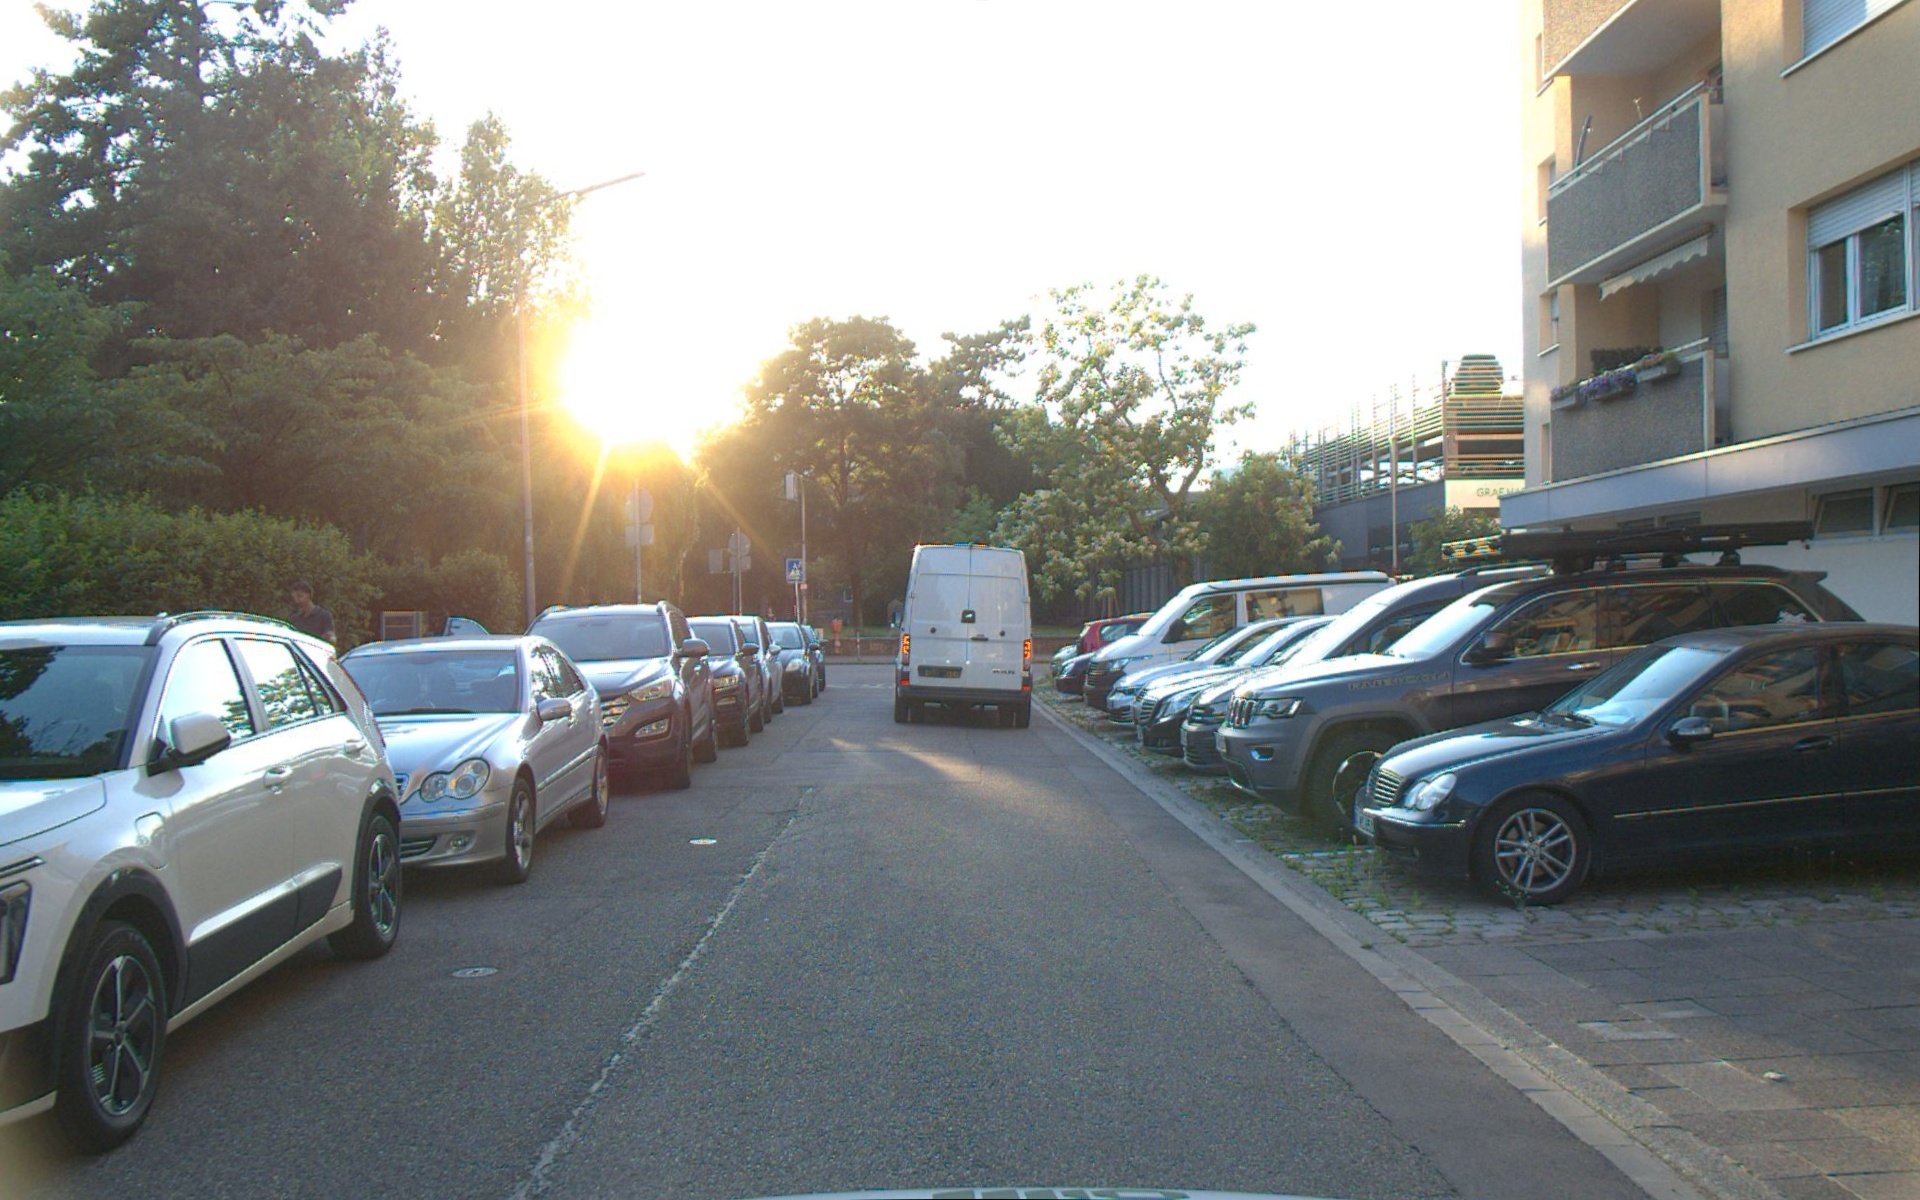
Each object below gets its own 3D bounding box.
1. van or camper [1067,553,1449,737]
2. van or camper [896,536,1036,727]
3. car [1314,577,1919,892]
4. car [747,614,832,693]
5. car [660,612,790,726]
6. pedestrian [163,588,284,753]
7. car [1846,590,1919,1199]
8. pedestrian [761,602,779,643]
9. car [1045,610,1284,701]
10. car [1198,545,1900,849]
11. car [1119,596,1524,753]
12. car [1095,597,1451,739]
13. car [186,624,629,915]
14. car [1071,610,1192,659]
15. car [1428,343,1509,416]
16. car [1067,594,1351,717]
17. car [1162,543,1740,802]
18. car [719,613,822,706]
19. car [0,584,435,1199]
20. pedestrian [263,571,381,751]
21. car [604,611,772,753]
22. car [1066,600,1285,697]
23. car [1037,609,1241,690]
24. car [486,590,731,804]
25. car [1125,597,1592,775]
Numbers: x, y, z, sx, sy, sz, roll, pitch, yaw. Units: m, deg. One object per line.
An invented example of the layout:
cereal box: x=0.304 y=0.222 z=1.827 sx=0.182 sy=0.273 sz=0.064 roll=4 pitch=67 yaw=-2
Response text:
van or camper: x=4.253 y=0.639 z=24.179 sx=5.032 sy=2.205 sz=2.039 roll=-4 pitch=-1 yaw=-3
van or camper: x=0.026 y=0.484 z=26.345 sx=1.953 sy=2.664 sz=6.401 roll=0 pitch=-1 yaw=-1
car: x=4.458 y=0.733 z=9.752 sx=4.313 sy=1.581 sz=1.845 roll=-2 pitch=-3 yaw=1
car: x=-3.731 y=1.140 z=36.683 sx=1.699 sy=1.595 sz=3.787 roll=-2 pitch=-1 yaw=-4
car: x=-3.643 y=1.027 z=26.232 sx=1.699 sy=1.595 sz=4.126 roll=-2 pitch=-1 yaw=-4
pedestrian: x=-7.155 y=0.673 z=16.108 sx=0.733 sy=1.534 sz=0.901 roll=2 pitch=-1 yaw=-3
car: x=4.244 y=0.668 z=2.940 sx=4.315 sy=1.581 sz=1.844 roll=-2 pitch=-3 yaw=-2
pedestrian: x=-7.795 y=0.935 z=68.024 sx=0.633 sy=1.677 sz=0.673 roll=1 pitch=-1 yaw=-1
car: x=3.929 y=1.088 z=32.190 sx=4.316 sy=1.558 sz=1.844 roll=-2 pitch=-3 yaw=-4
car: x=4.123 y=0.660 z=12.096 sx=4.421 sy=1.895 sz=1.845 roll=-2 pitch=-1 yaw=-2
car: x=4.160 y=0.871 z=19.523 sx=4.315 sy=1.621 sz=1.845 roll=-2 pitch=-3 yaw=-2
car: x=4.063 y=0.908 z=21.973 sx=4.315 sy=1.660 sz=1.845 roll=-2 pitch=-3 yaw=-2
car: x=-3.356 y=0.926 z=10.921 sx=1.699 sy=1.452 sz=4.283 roll=-2 pitch=-1 yaw=-4
car: x=5.682 y=1.127 z=55.189 sx=3.778 sy=1.601 sz=1.957 roll=0 pitch=0 yaw=-3
car: x=18.384 y=-7.967 z=60.008 sx=1.951 sy=2.049 sz=4.002 roll=0 pitch=-1 yaw=4
car: x=3.995 y=0.916 z=27.030 sx=4.240 sy=1.690 sz=1.780 roll=-3 pitch=-3 yaw=-4
car: x=4.234 y=0.642 z=14.786 sx=4.543 sy=2.016 sz=1.845 roll=-2 pitch=-3 yaw=-2
car: x=-3.507 y=1.073 z=31.138 sx=1.699 sy=1.595 sz=3.694 roll=-2 pitch=-1 yaw=-4
car: x=-3.295 y=0.794 z=5.849 sx=1.724 sy=1.570 sz=4.277 roll=-2 pitch=-1 yaw=-4
pedestrian: x=-6.491 y=0.610 z=16.821 sx=0.886 sy=1.763 sz=0.745 roll=1 pitch=-1 yaw=43
car: x=-3.402 y=0.974 z=21.332 sx=1.699 sy=1.595 sz=4.164 roll=-2 pitch=-1 yaw=-4
car: x=4.488 y=1.008 z=34.971 sx=4.314 sy=1.659 sz=1.846 roll=-5 pitch=-1 yaw=1
car: x=4.009 y=1.129 z=37.513 sx=4.316 sy=1.660 sz=1.844 roll=-2 pitch=-3 yaw=-4
car: x=-3.292 y=0.843 z=16.250 sx=1.699 sy=1.760 sz=4.319 roll=-2 pitch=-1 yaw=-4
car: x=3.988 y=0.874 z=17.076 sx=4.315 sy=1.590 sz=1.845 roll=-2 pitch=-3 yaw=-2
